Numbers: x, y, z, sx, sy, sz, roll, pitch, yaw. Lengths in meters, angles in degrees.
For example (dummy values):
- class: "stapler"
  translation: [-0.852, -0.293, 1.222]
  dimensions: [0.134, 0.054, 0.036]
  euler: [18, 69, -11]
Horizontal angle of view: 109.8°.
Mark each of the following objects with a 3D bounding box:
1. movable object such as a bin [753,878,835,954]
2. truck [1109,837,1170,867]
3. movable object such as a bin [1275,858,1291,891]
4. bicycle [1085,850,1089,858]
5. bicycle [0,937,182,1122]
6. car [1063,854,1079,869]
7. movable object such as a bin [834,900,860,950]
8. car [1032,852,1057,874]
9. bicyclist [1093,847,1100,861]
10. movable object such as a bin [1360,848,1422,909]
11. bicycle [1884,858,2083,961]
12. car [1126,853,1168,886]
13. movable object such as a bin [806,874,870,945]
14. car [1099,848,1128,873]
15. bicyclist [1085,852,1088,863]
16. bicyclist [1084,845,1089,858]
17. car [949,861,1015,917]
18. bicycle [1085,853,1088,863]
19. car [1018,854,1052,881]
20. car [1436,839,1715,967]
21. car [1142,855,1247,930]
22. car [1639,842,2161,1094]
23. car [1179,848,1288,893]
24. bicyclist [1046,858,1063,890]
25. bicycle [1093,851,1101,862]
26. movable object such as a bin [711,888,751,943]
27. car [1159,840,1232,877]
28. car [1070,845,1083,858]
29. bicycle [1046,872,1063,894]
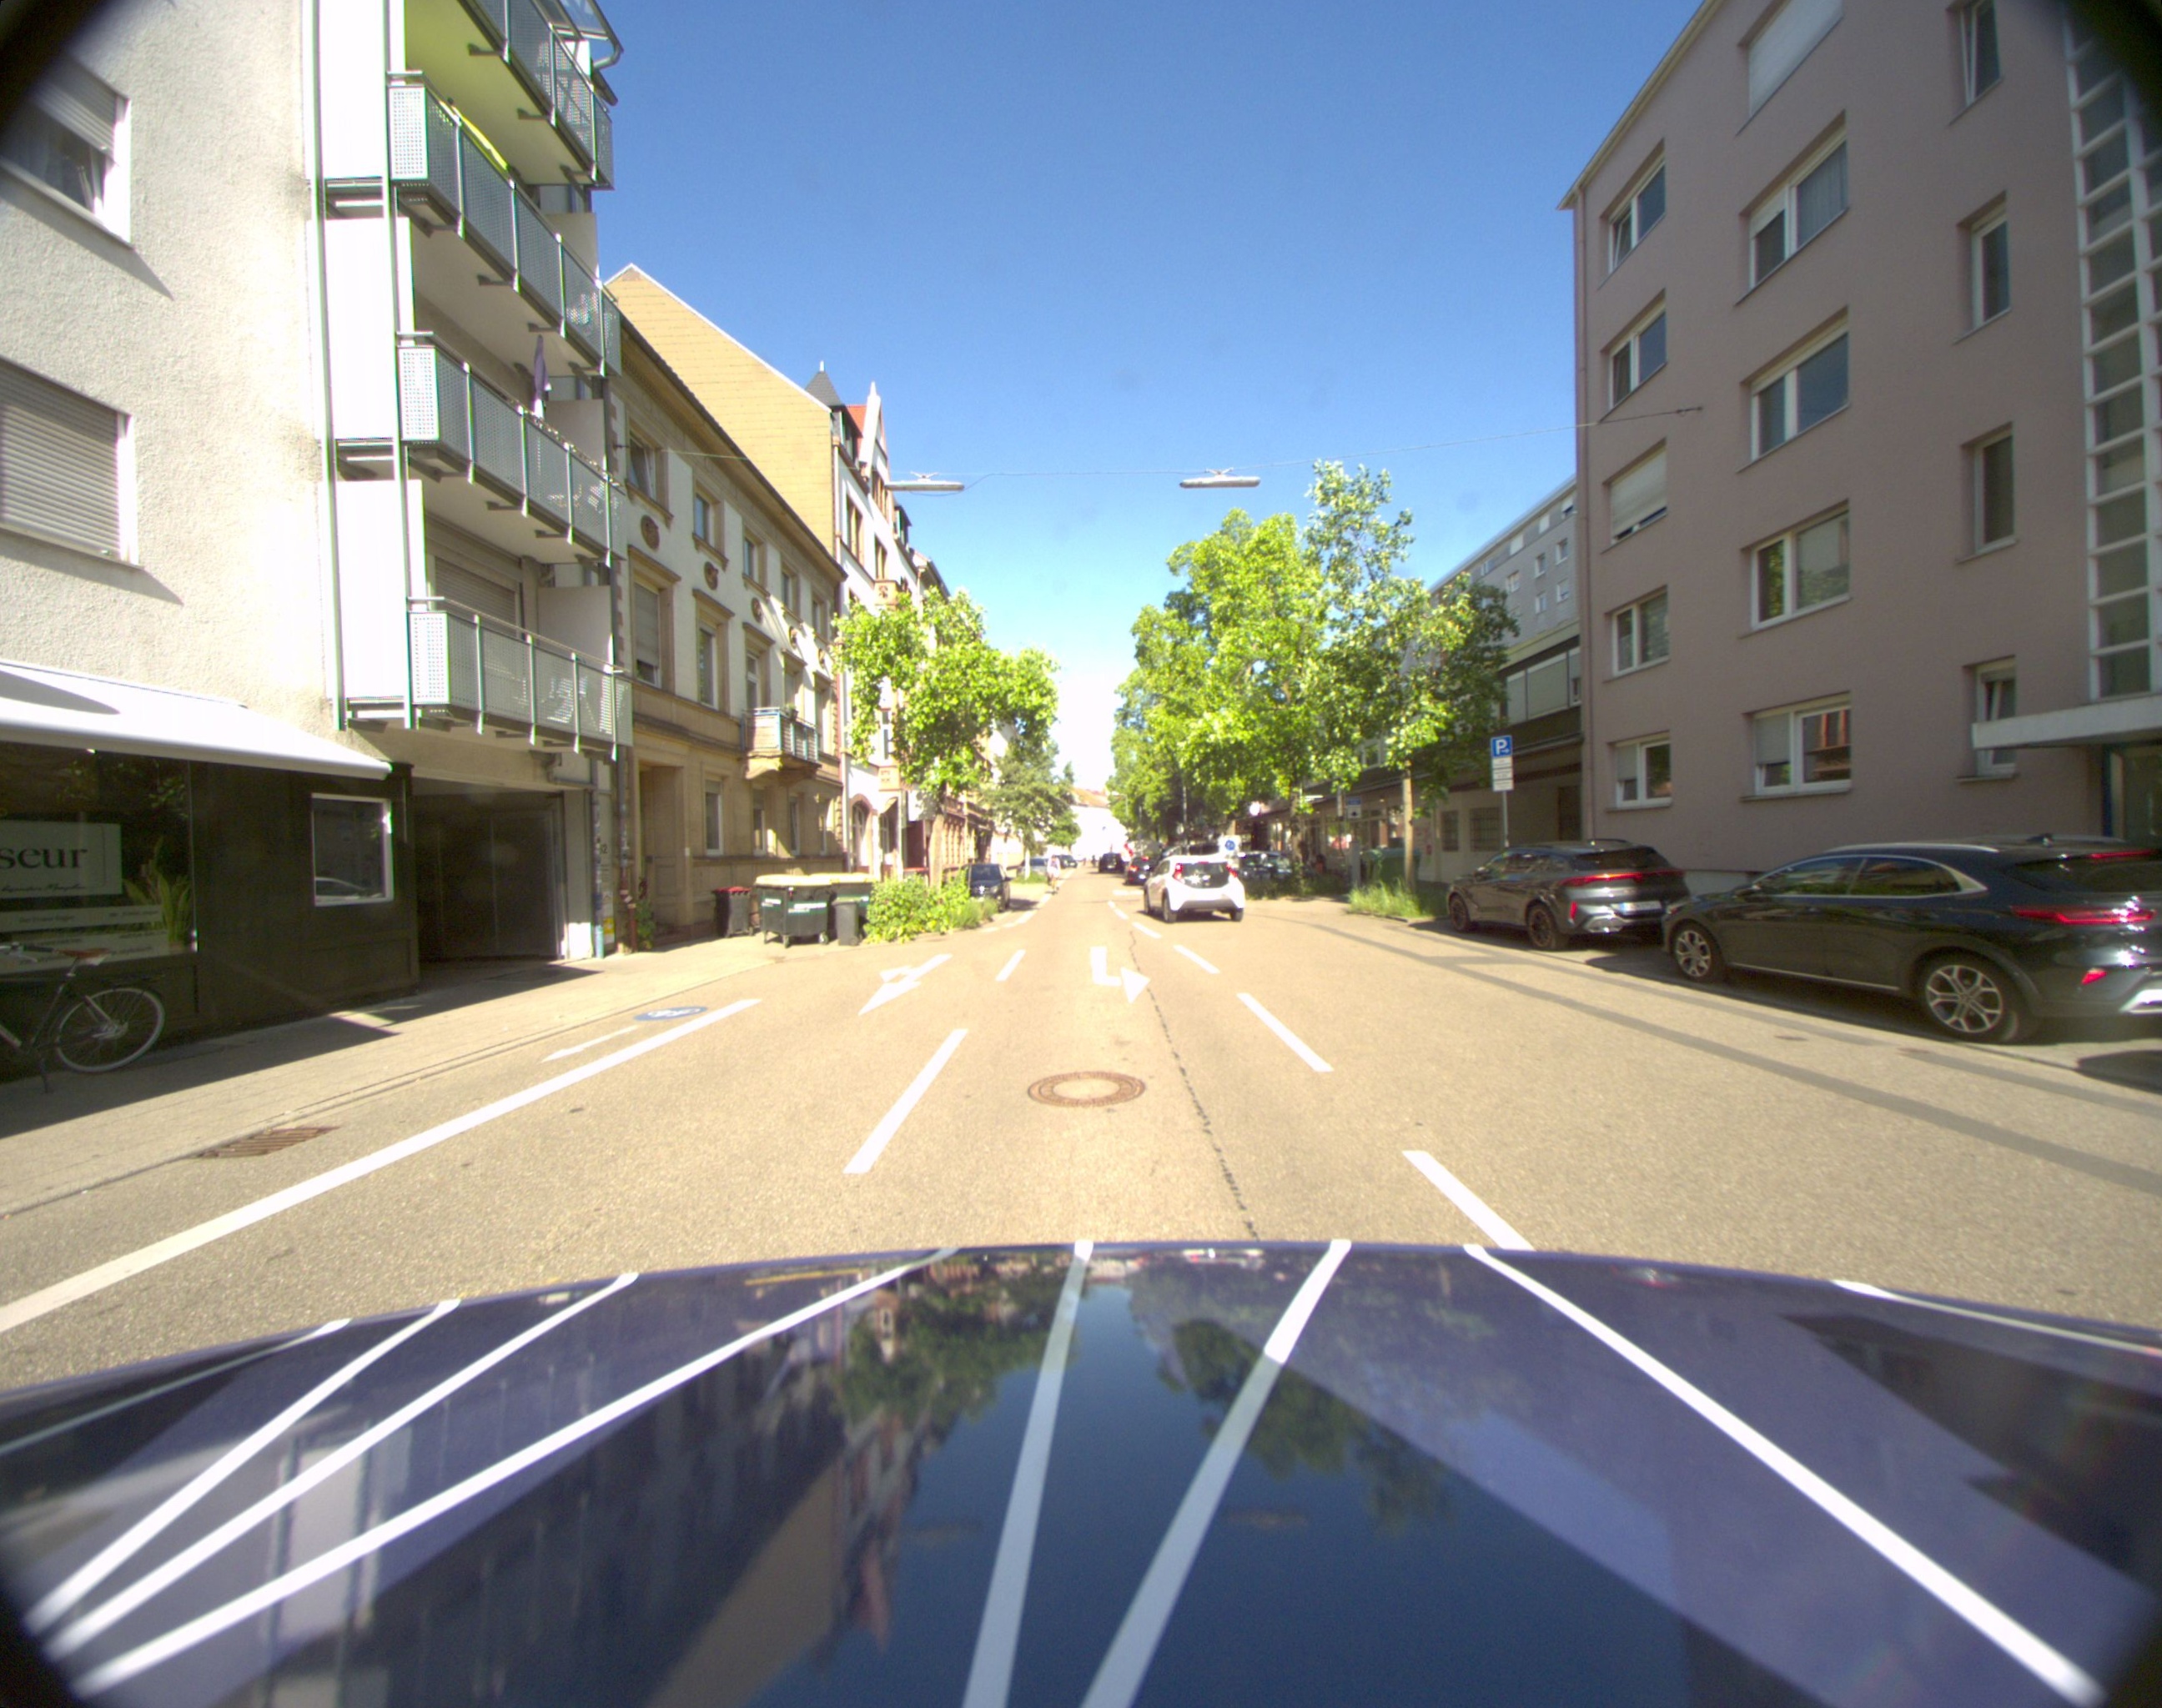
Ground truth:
- class: "movable object such as a bin"
  translation: [-5.585, 1.164, 14.776]
  dimensions: [1.212, 1.318, 1.052]
  euler: [2, 3, 42]
- class: "truck"
  translation: [5.476, -0.180, 71.646]
  dimensions: [5.322, 2.581, 1.998]
  euler: [-2, 1, -9]
- class: "movable object such as a bin"
  translation: [7.623, 0.786, 28.673]
  dimensions: [0.488, 1.218, 0.409]
  euler: [-2, 1, 1]
- class: "bicycle"
  translation: [0.895, -0.003, 120.687]
  dimensions: [0.570, 1.139, 2.259]
  euler: [-3, 1, 1]
- class: "bicycle"
  translation: [-7.743, 1.285, 5.445]
  dimensions: [0.402, 1.171, 1.792]
  euler: [-2, 0, 1]
- class: "car"
  translation: [-1.067, 0.811, 83.615]
  dimensions: [1.653, 1.447, 3.290]
  euler: [-2, 0, 1]
- class: "movable object such as a bin"
  translation: [-4.575, 1.387, 14.887]
  dimensions: [0.401, 0.916, 0.484]
  euler: [0, 2, -7]
- class: "car"
  translation: [-2.628, 0.658, 55.201]
  dimensions: [1.653, 1.483, 3.290]
  euler: [-2, 0, 0]
- class: "bicyclist"
  translation: [1.772, 0.026, 86.107]
  dimensions: [0.748, 1.588, 0.613]
  euler: [-3, 1, 1]
- class: "movable object such as a bin"
  translation: [8.138, 0.638, 19.991]
  dimensions: [1.247, 1.536, 1.019]
  euler: [-2, 1, 5]
- class: "bicycle"
  translation: [10.763, 0.618, 9.152]
  dimensions: [0.391, 1.070, 1.650]
  euler: [-6, 1, 2]
- class: "car"
  translation: [3.212, 0.722, 37.655]
  dimensions: [1.867, 1.455, 4.000]
  euler: [-2, 0, 3]
- class: "movable object such as a bin"
  translation: [-5.082, 1.126, 15.852]
  dimensions: [0.960, 1.341, 1.066]
  euler: [-1, 2, -38]
- class: "car"
  translation: [2.457, 0.445, 58.288]
  dimensions: [1.994, 1.599, 4.259]
  euler: [-3, 3, 1]
- class: "bicyclist"
  translation: [0.744, 0.426, 101.733]
  dimensions: [0.417, 1.415, 0.324]
  euler: [-2, 1, 1]
- class: "bicyclist"
  translation: [0.877, -0.389, 120.752]
  dimensions: [0.578, 1.911, 0.613]
  euler: [-3, 1, 1]
- class: "car"
  translation: [-2.966, 1.016, 23.364]
  dimensions: [1.551, 1.483, 3.351]
  euler: [-2, 0, 0]
- class: "bicycle"
  translation: [0.742, 0.583, 101.739]
  dimensions: [0.422, 1.292, 1.762]
  euler: [-2, 0, 0]
- class: "car"
  translation: [-2.741, 0.770, 45.886]
  dimensions: [1.759, 1.492, 3.949]
  euler: [-2, 0, 0]
- class: "car"
  translation: [7.593, 0.648, 12.255]
  dimensions: [1.821, 1.583, 4.141]
  euler: [-5, 0, 2]
- class: "car"
  translation: [2.588, 0.827, 18.185]
  dimensions: [1.770, 1.528, 3.785]
  euler: [-2, 0, -3]
- class: "car"
  translation: [7.519, 0.709, 6.914]
  dimensions: [1.821, 1.499, 4.245]
  euler: [-4, 0, 2]
- class: "car"
  translation: [6.092, 0.638, 30.667]
  dimensions: [3.997, 1.665, 2.000]
  euler: [-2, 1, 1]
- class: "bicyclist"
  translation: [-1.129, 0.847, 32.308]
  dimensions: [0.610, 1.338, 1.018]
  euler: [-2, 0, -5]
- class: "bicycle"
  translation: [1.782, 0.244, 86.097]
  dimensions: [0.778, 1.139, 2.259]
  euler: [-3, 1, 1]
- class: "movable object such as a bin"
  translation: [-7.316, 1.275, 15.891]
  dimensions: [0.615, 1.075, 0.568]
  euler: [2, 3, 42]
- class: "car"
  translation: [6.710, 0.268, 44.774]
  dimensions: [3.997, 2.020, 2.000]
  euler: [-2, 1, 1]
- class: "car"
  translation: [-0.674, -0.460, 126.563]
  dimensions: [1.998, 2.002, 4.000]
  euler: [-2, 0, 1]
- class: "bicycle"
  translation: [-1.133, 1.220, 32.393]
  dimensions: [0.612, 0.876, 1.813]
  euler: [-1, -1, -5]
